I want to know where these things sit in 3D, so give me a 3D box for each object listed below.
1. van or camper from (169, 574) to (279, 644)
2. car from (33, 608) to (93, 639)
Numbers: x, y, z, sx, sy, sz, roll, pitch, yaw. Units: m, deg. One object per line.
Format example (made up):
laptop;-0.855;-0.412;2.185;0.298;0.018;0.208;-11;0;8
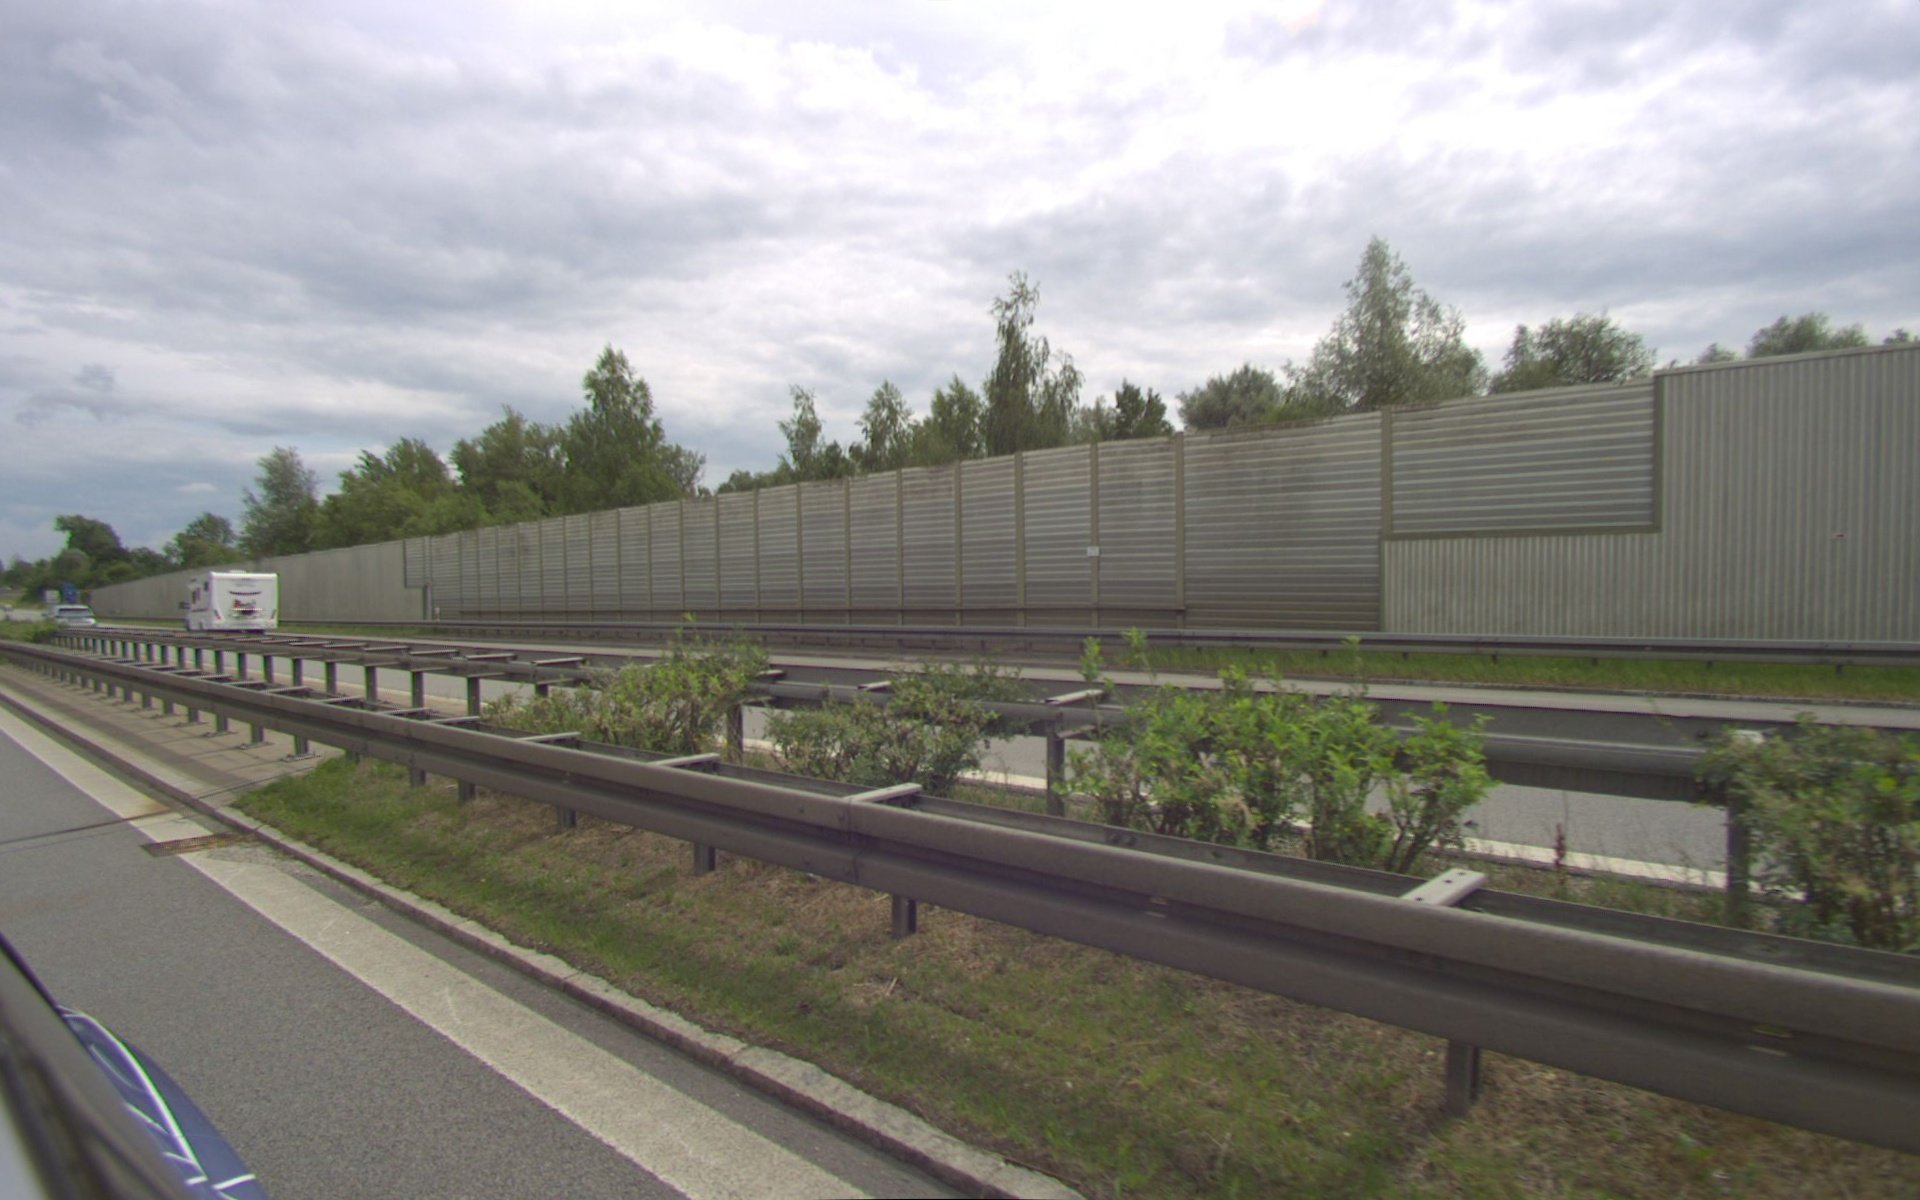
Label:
van or camper;-32.958;0.434;45.184;7.767;2.891;2.440;-1;-1;42
car;-42.670;1.113;48.125;4.647;1.431;1.674;-1;-2;43
